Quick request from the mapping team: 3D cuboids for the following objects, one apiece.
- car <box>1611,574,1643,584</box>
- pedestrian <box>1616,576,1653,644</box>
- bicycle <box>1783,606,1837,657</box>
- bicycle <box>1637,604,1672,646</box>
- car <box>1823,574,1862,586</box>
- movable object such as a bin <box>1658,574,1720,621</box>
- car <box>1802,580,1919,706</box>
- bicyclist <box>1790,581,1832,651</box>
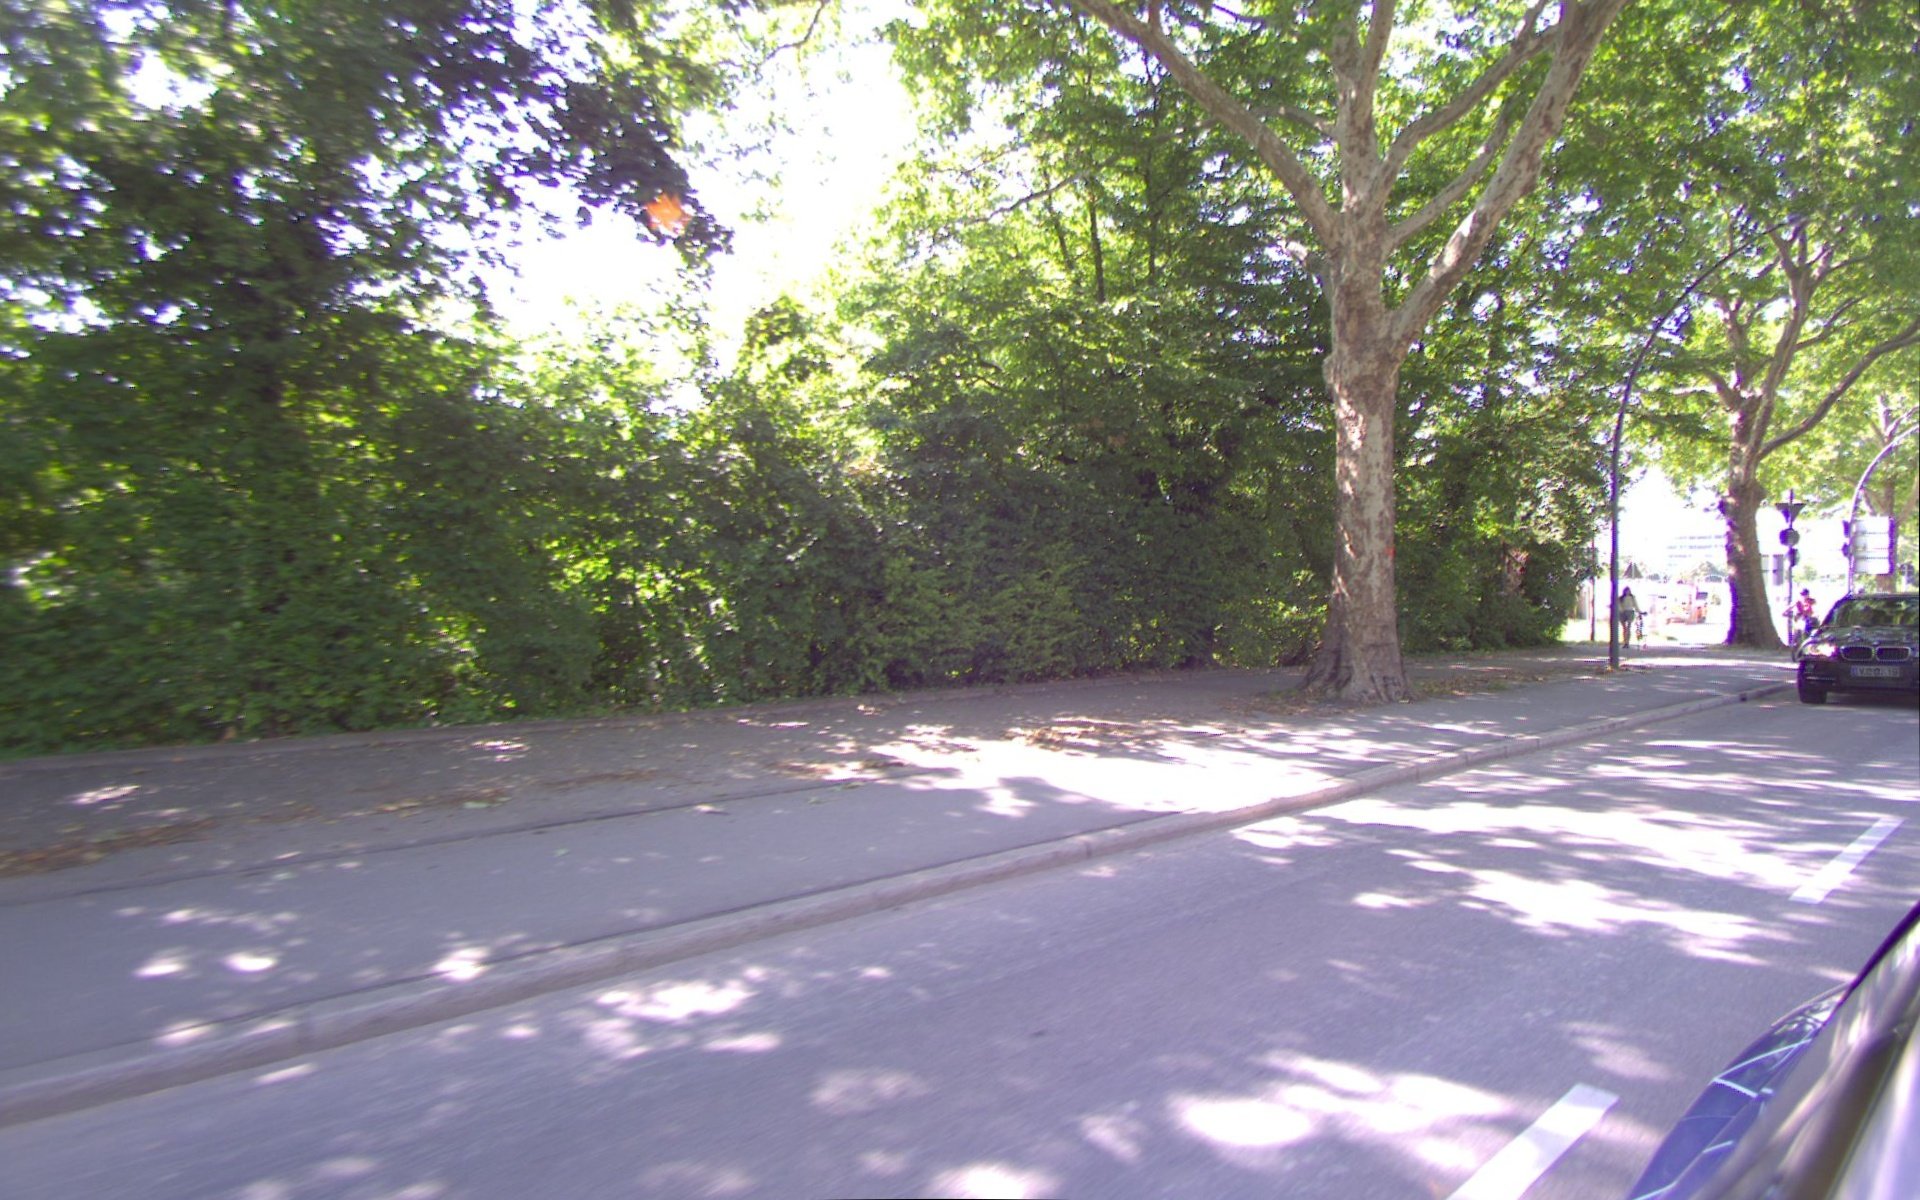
[{"bbox_3d":[107.634,-3.316,163.356,1.778,1.529,3.991,1,0,-43],"label":"car"},{"bbox_3d":[18.374,0.275,27.565,0.859,1.808,0.633,0,-1,-40],"label":"pedestrian"},{"bbox_3d":[20.318,0.738,24.177,1.911,1.143,0.653,0,2,-41],"label":"bicycle"},{"bbox_3d":[18.803,0.672,27.405,1.669,1.095,0.350,0,0,-40],"label":"bicycle"},{"bbox_3d":[124.942,-2.816,143.311,1.778,1.529,3.991,1,0,-43],"label":"car"},{"bbox_3d":[50.105,-0.133,69.533,5.884,3.111,2.371,1,-1,-43],"label":"movable object such as a bin"},{"bbox_3d":[14.792,0.601,15.740,4.078,1.752,1.923,0,0,-40],"label":"car"},{"bbox_3d":[20.319,0.378,24.160,0.719,1.620,0.621,1,1,-42],"label":"bicyclist"}]
